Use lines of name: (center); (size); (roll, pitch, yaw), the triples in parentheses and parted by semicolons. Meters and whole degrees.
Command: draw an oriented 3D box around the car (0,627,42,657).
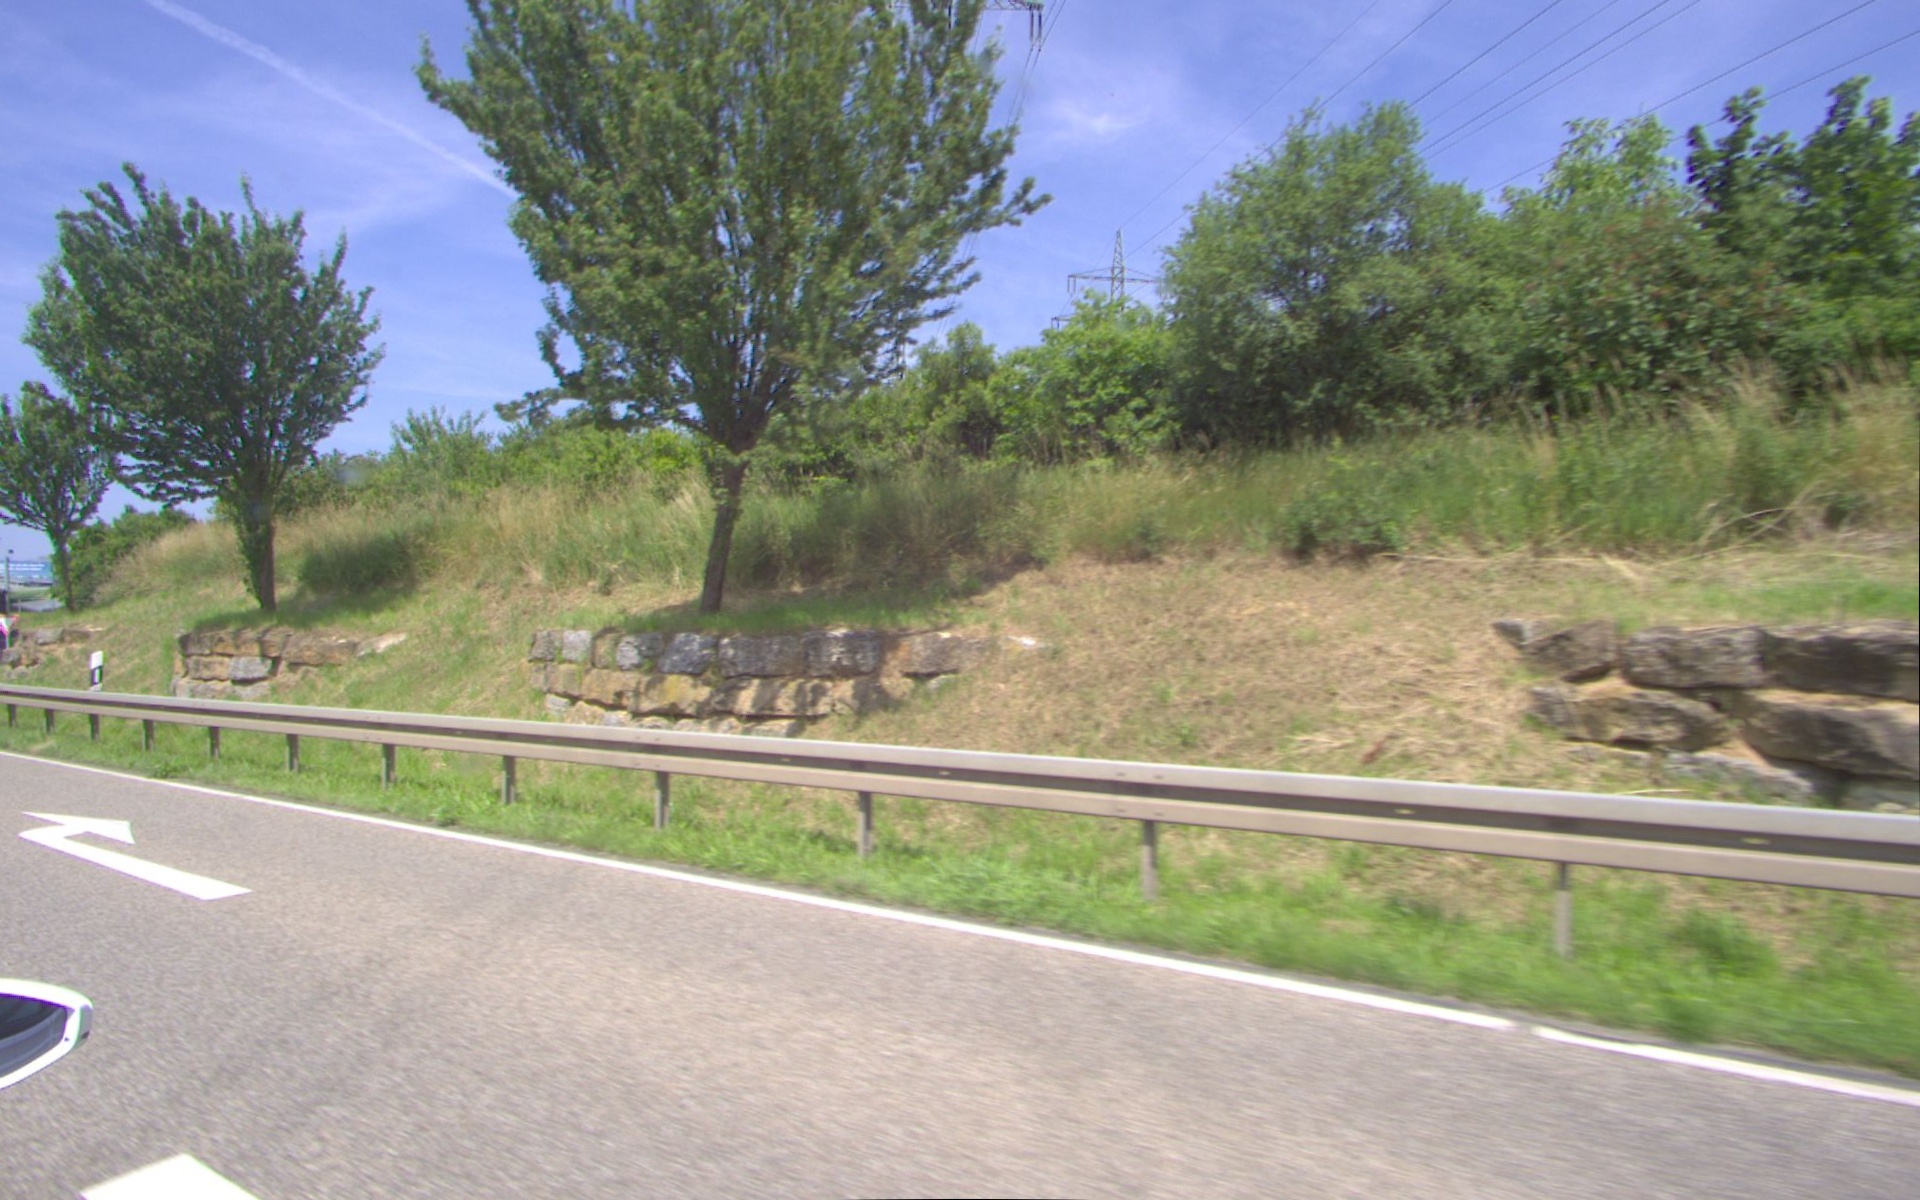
car: (-50.144, 2.161, 51.258); (1.687, 1.530, 4.362); (-1, -1, 22)

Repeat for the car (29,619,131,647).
car: (-53.542, 2.007, 61.009); (1.751, 1.613, 4.359); (-1, -1, 24)
